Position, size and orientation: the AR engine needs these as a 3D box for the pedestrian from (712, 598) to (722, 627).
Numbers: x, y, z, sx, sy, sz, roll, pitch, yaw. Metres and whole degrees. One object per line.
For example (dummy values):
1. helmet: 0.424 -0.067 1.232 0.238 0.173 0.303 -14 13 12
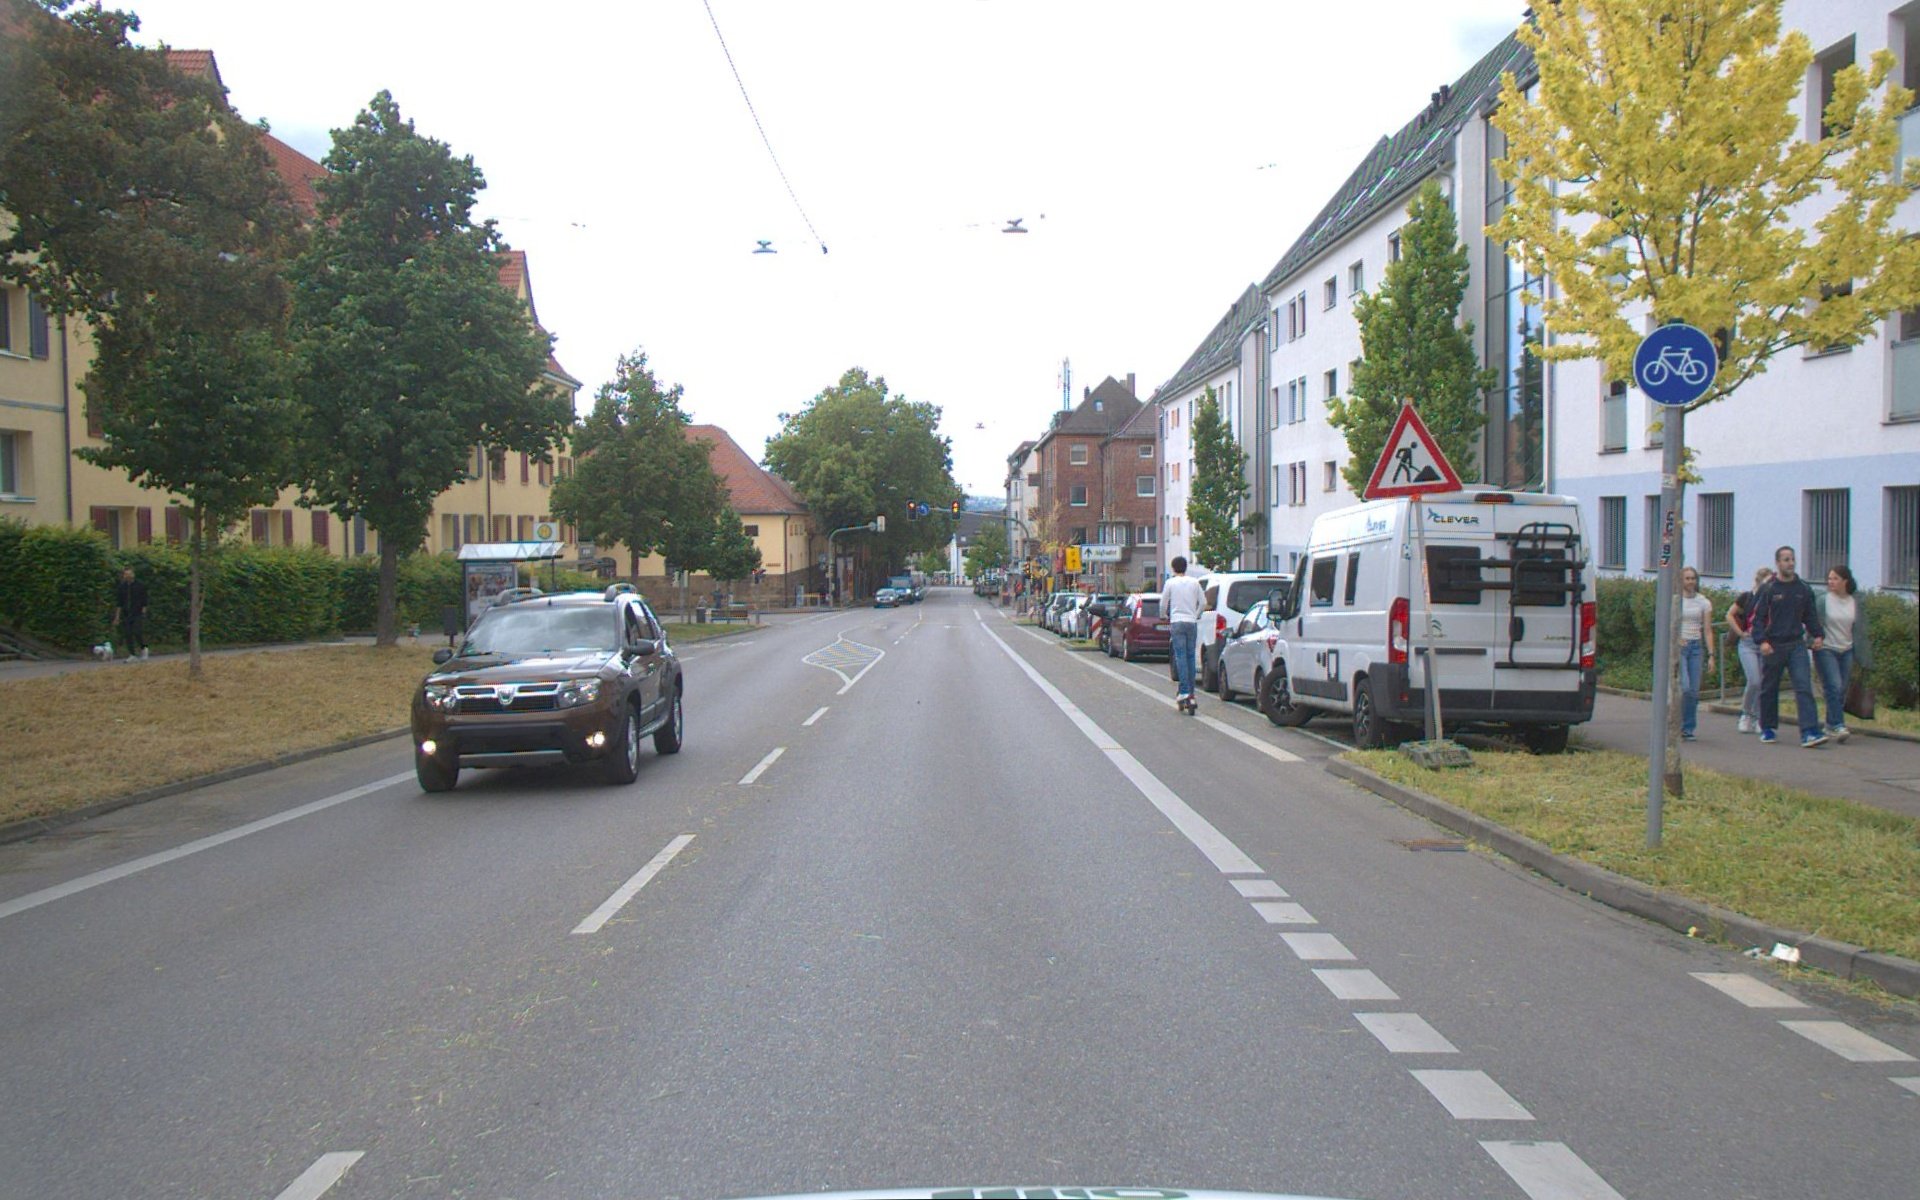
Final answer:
1. pedestrian: -15.319 0.800 104.291 0.552 1.808 0.842 0 0 -1

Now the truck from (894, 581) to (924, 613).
1. truck: -4.156 -0.250 134.532 2.250 2.469 6.407 -2 0 -3

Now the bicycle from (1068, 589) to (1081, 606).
1. bicycle: 8.260 -0.173 119.360 0.744 1.214 2.391 0 0 0

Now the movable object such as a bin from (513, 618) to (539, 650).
1. movable object such as a bin: -12.178 0.951 46.421 0.525 0.860 0.665 1 0 0

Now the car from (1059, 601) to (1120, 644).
1. car: 4.592 0.773 59.336 1.695 1.438 4.498 1 0 -2

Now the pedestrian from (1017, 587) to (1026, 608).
1. pedestrian: 4.924 -0.177 132.677 0.553 1.665 0.681 0 0 20

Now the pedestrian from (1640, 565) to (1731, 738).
1. pedestrian: 7.167 0.502 16.348 0.567 1.673 0.559 -1 -1 -15

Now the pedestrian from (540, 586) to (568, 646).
1. pedestrian: -11.975 0.471 48.822 0.585 1.757 0.861 0 0 2

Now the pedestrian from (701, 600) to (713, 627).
1. pedestrian: -15.005 0.773 98.064 0.552 1.594 0.843 0 0 5

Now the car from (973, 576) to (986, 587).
1. car: 2.775 -2.705 237.852 1.635 1.574 3.754 0 0 -3

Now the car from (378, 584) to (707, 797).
1. car: -3.586 0.693 15.069 1.860 1.648 4.361 0 0 0

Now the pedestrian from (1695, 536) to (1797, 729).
1. pedestrian: 7.996 0.322 16.839 0.659 1.920 0.617 -1 -1 -18

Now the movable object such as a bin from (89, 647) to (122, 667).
1. movable object such as a bin: -16.181 1.075 31.318 0.300 0.353 0.581 0 0 5

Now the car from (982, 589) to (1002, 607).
1. car: 3.572 -0.252 185.191 1.954 1.969 4.916 0 0 -3

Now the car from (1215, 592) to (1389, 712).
1. car: 4.719 0.663 23.261 1.494 1.511 3.724 1 0 -3

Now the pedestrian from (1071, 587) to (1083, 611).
1. pedestrian: 8.386 -0.083 118.801 0.772 1.685 0.772 -3 0 0

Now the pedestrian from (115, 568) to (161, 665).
1. pedestrian: -15.469 0.299 31.136 0.503 1.811 0.753 0 0 -1

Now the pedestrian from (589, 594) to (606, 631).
1. pedestrian: -16.022 0.556 73.041 0.627 1.647 0.618 0 0 -2

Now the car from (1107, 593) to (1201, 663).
1. car: 4.625 0.637 39.943 1.647 1.571 4.337 0 0 -2

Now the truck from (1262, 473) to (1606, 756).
1. truck: 4.905 0.103 18.128 2.011 2.610 5.688 0 0 -1

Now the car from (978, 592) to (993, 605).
1. car: 3.246 -0.184 208.866 1.635 1.574 3.754 0 0 -3

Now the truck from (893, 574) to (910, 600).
1. truck: -7.782 -1.788 221.330 2.185 3.405 7.448 0 0 -1

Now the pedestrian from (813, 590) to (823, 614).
1. pedestrian: -10.813 0.170 126.303 0.660 1.796 0.726 0 0 2

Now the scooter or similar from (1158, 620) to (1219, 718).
1. scooter or similar: 2.979 0.877 21.707 0.480 1.183 2.074 0 0 -1

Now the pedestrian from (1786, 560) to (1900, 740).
1. pedestrian: 8.408 0.464 15.764 0.645 1.633 0.574 -5 1 -10

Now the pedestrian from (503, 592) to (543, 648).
1. pedestrian: -12.335 0.565 46.729 0.881 1.536 0.806 1 0 0

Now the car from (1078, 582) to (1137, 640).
1. car: 4.774 0.307 53.919 1.598 1.679 4.358 1 2 1

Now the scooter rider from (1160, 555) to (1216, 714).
1. scooter rider: 2.983 0.441 21.713 0.613 2.049 0.757 0 0 -1

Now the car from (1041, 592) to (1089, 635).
1. car: 4.531 0.568 71.751 1.625 1.746 4.550 1 0 -2

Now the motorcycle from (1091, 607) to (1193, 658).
1. motorcycle: 4.767 0.854 43.386 2.546 1.301 0.752 0 0 -5

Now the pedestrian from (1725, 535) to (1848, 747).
1. pedestrian: 7.726 0.373 15.485 0.658 1.920 0.764 -1 -1 -13

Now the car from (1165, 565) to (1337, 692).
1. car: 4.852 0.421 28.368 1.953 1.978 5.210 0 0 -1

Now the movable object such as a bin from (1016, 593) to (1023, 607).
1. movable object such as a bin: 4.760 0.009 132.492 0.443 1.075 0.410 0 0 19

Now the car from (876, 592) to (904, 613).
1. car: -5.207 0.169 123.370 1.719 1.498 4.308 -2 0 3
